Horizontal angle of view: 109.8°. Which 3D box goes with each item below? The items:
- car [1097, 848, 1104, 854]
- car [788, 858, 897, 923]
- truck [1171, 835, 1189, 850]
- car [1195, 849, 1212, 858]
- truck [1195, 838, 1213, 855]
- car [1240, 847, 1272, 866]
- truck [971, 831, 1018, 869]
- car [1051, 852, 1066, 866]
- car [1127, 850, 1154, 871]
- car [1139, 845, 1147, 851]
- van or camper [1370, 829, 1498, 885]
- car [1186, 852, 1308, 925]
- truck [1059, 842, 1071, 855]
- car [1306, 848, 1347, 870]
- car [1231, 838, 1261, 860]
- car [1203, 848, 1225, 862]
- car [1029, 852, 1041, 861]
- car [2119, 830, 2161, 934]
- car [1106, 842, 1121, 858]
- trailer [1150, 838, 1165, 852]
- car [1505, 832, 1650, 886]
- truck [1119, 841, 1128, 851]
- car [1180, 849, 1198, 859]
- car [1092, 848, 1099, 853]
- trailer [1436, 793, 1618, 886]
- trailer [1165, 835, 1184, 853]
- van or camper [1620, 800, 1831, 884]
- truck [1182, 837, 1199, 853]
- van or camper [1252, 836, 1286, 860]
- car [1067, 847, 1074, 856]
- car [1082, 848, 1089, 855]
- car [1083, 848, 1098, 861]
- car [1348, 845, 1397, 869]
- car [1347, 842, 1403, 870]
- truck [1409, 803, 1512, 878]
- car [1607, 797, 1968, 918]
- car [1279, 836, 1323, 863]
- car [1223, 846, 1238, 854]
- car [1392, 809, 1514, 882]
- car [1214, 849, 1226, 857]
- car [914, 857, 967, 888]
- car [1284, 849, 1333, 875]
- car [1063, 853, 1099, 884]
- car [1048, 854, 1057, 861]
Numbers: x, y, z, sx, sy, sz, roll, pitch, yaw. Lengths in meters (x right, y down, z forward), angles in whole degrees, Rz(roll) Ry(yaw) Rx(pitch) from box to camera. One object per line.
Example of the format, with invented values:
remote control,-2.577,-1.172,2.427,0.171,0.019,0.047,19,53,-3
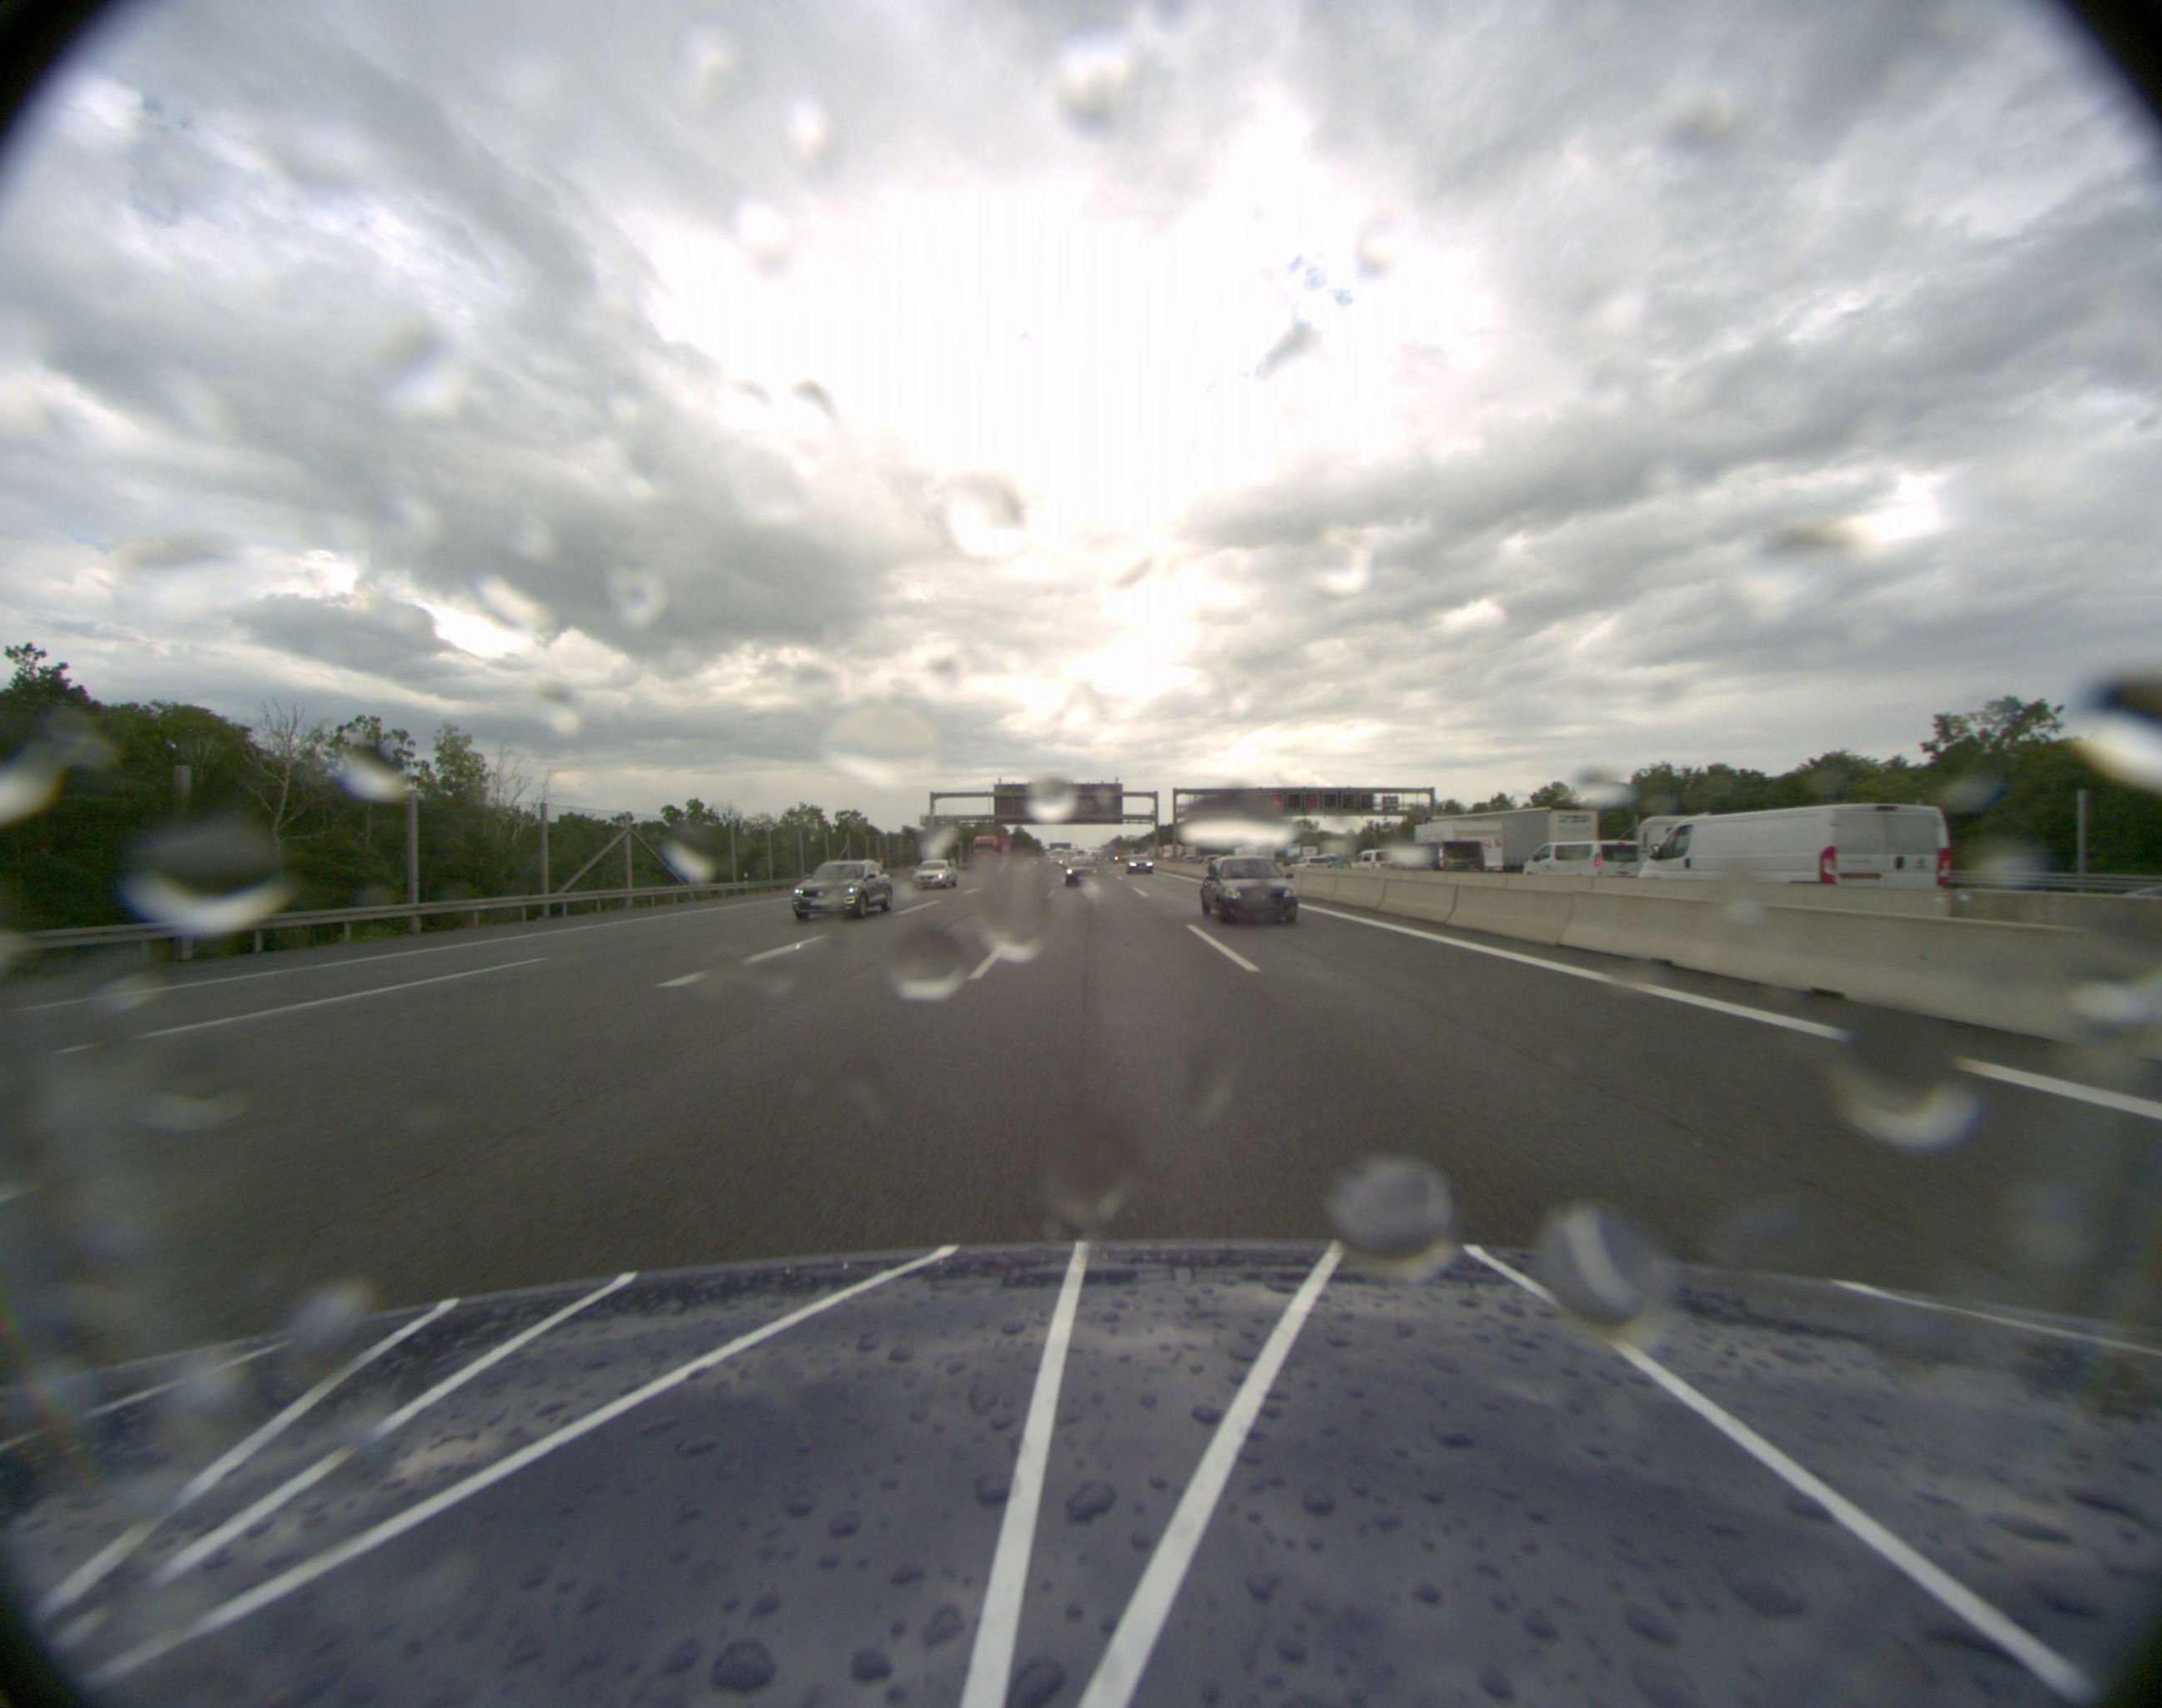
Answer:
car,5.634,-0.925,218.455,1.998,1.790,4.898,-2,1,1
car,-6.559,0.951,21.309,1.797,1.553,3.721,-2,1,0
truck,28.167,-3.194,216.690,2.655,3.997,17.746,-1,0,0
car,18.907,-0.054,117.217,1.803,1.349,5.129,-1,0,0
truck,26.460,-1.511,164.055,2.470,3.516,7.807,-1,0,0
car,15.039,0.226,65.389,1.762,1.489,4.393,-2,0,1
truck,-10.068,-0.425,90.793,3.160,3.980,15.639,-2,0,2
car,-3.199,0.659,106.925,1.962,1.831,4.000,-1,0,0
car,4.474,0.487,57.826,1.751,1.489,4.015,-2,1,0
car,19.268,-1.815,236.137,1.826,2.040,5.675,-1,0,0
van or camper,14.297,0.097,31.306,1.999,2.002,6.344,-2,0,-3
car,3.655,0.680,17.679,1.781,1.399,5.016,-2,0,1
truck,-5.492,-1.821,255.070,3.256,3.884,12.309,-2,0,-4
car,18.891,0.370,58.612,1.806,1.612,4.280,-2,0,1
car,19.587,-0.608,90.478,2.208,2.474,6.065,-1,0,0
car,15.306,0.102,87.602,1.763,1.429,4.393,-2,0,0
car,-7.658,0.412,126.719,1.820,1.534,4.356,-2,0,-3
car,18.127,0.427,10.378,1.868,1.651,4.426,-2,0,1
car,5.167,-0.617,122.129,1.999,2.354,4.171,-2,0,-1
trailer,23.187,-2.644,231.345,3.252,3.910,13.014,-2,0,0
car,18.733,0.165,29.061,1.863,1.813,5.664,-2,0,1
truck,13.764,-2.555,249.104,2.526,3.379,8.540,-1,0,0
car,15.351,0.014,108.129,1.707,1.383,4.505,-1,0,-2
car,4.754,-1.103,251.899,1.999,1.635,3.999,-2,0,-2
trailer,26.702,-0.781,46.832,3.155,4.828,13.293,-2,0,-1
trailer,22.954,-2.415,186.841,3.195,4.169,11.956,-1,0,0
van or camper,18.935,-0.316,22.728,2.100,2.173,4.971,-2,0,1
truck,27.352,-2.264,190.648,2.906,3.817,10.756,-1,0,1
van or camper,23.357,-0.737,94.649,2.590,2.830,6.212,-1,0,-2
car,-3.329,-0.760,232.305,2.037,2.587,4.513,-1,0,-2
car,1.250,-0.764,215.049,1.999,2.002,3.507,-2,0,-2
car,1.337,0.055,112.300,2.134,1.831,4.000,-1,0,0
car,22.006,0.202,57.617,1.716,1.657,5.316,-2,0,1
car,18.591,0.113,48.314,1.716,1.657,4.795,-2,0,1
truck,26.612,-0.865,53.817,3.155,4.828,8.026,-2,0,-1
car,13.647,0.054,15.399,2.100,1.957,5.631,-2,0,1
car,22.416,-0.456,77.686,2.277,2.531,7.357,-2,0,0
car,26.531,-0.703,135.226,1.766,1.418,4.342,-1,0,0
car,18.593,-0.389,38.624,2.504,3.281,7.626,-2,0,1
car,27.138,-0.220,148.284,1.587,1.418,4.003,-1,0,0
car,-7.375,0.920,40.262,1.898,1.438,4.245,-2,0,1
car,14.402,0.478,48.285,1.646,1.484,4.933,-2,0,1
car,0.070,0.691,38.654,1.668,1.431,4.405,-2,1,2
car,-6.100,0.813,161.961,1.782,1.438,4.587,-2,0,-3
